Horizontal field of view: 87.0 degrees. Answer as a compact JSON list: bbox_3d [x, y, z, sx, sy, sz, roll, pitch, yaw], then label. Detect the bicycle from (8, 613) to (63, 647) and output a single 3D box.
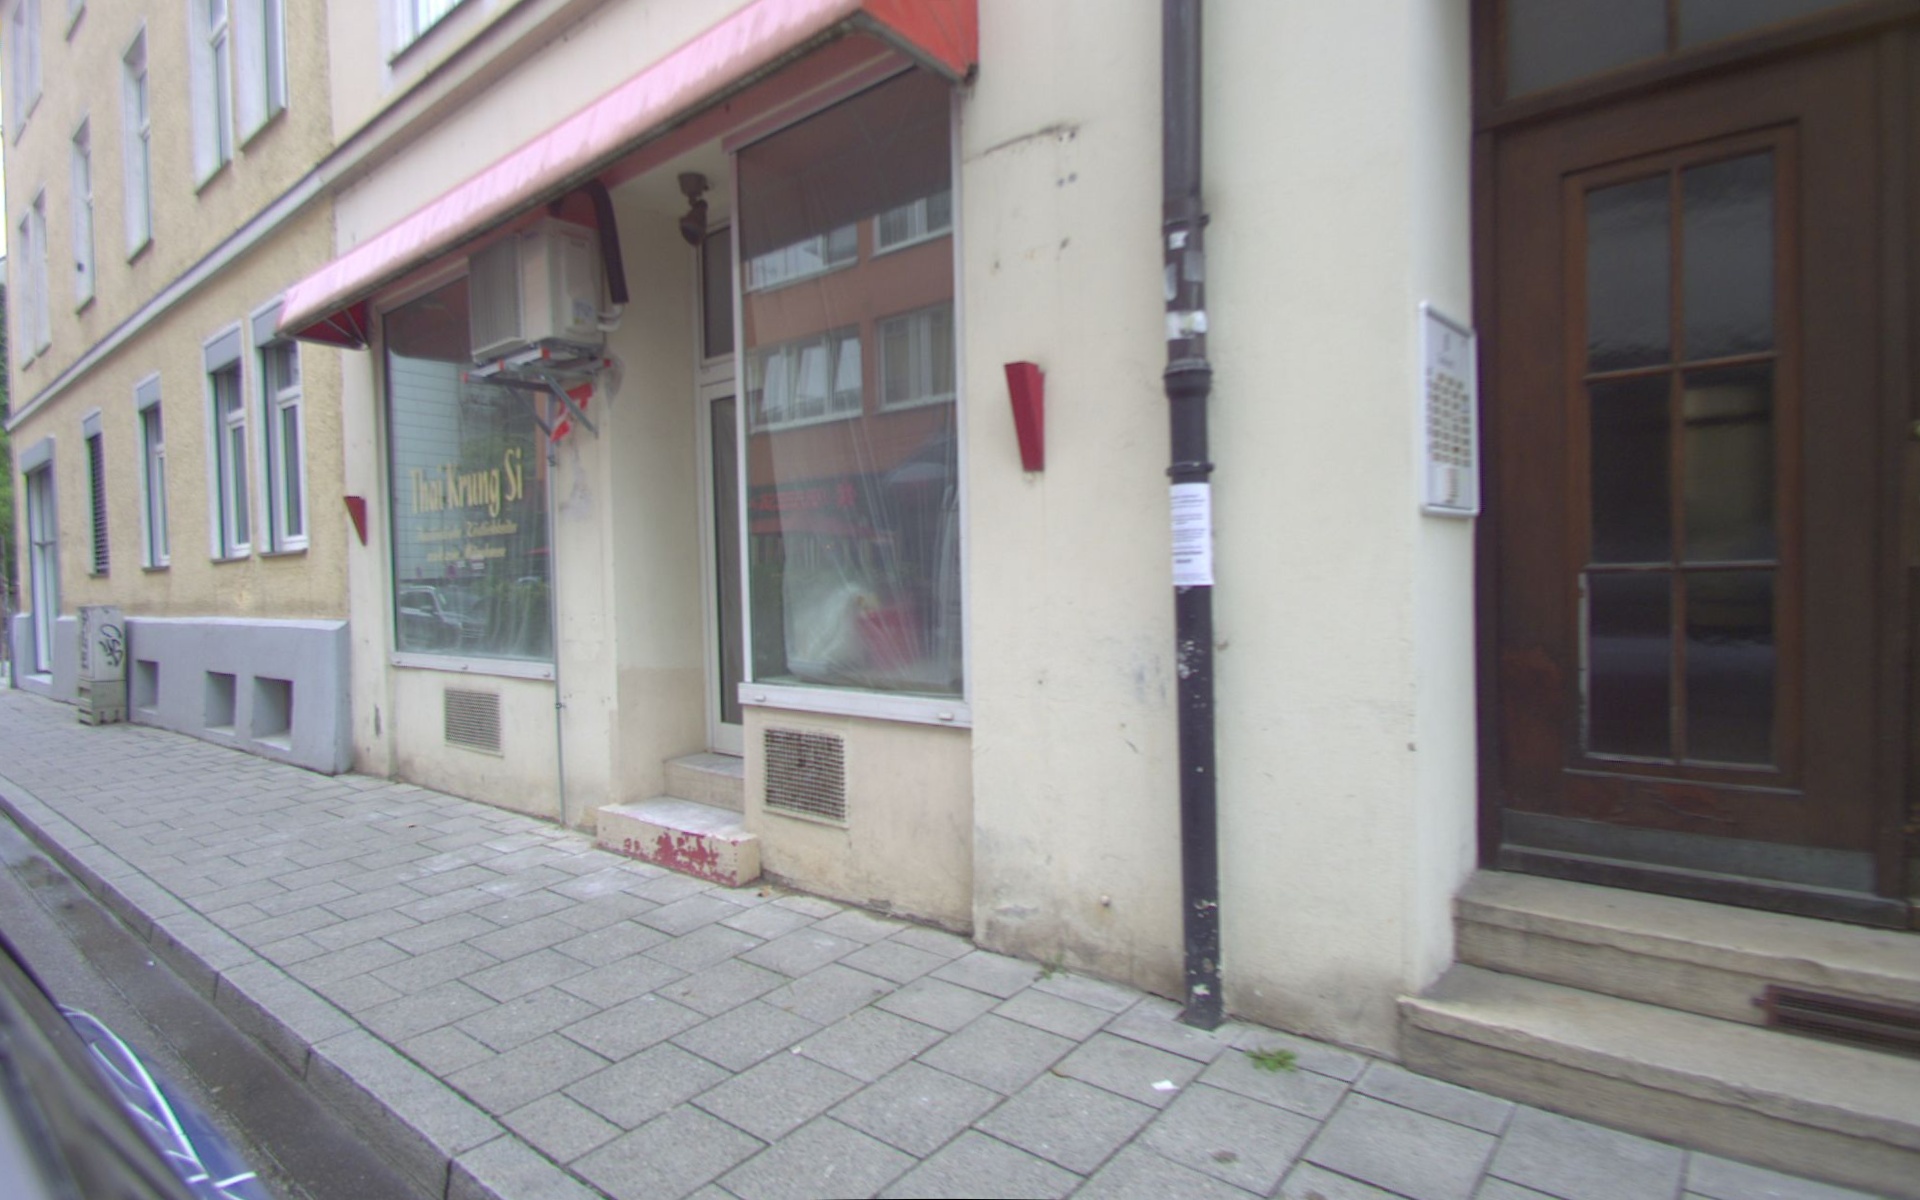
[{"bbox_3d":[-35.005,1.123,38.336,1.985,1.217,0.708,-1,2,22],"label":"bicycle"}]
